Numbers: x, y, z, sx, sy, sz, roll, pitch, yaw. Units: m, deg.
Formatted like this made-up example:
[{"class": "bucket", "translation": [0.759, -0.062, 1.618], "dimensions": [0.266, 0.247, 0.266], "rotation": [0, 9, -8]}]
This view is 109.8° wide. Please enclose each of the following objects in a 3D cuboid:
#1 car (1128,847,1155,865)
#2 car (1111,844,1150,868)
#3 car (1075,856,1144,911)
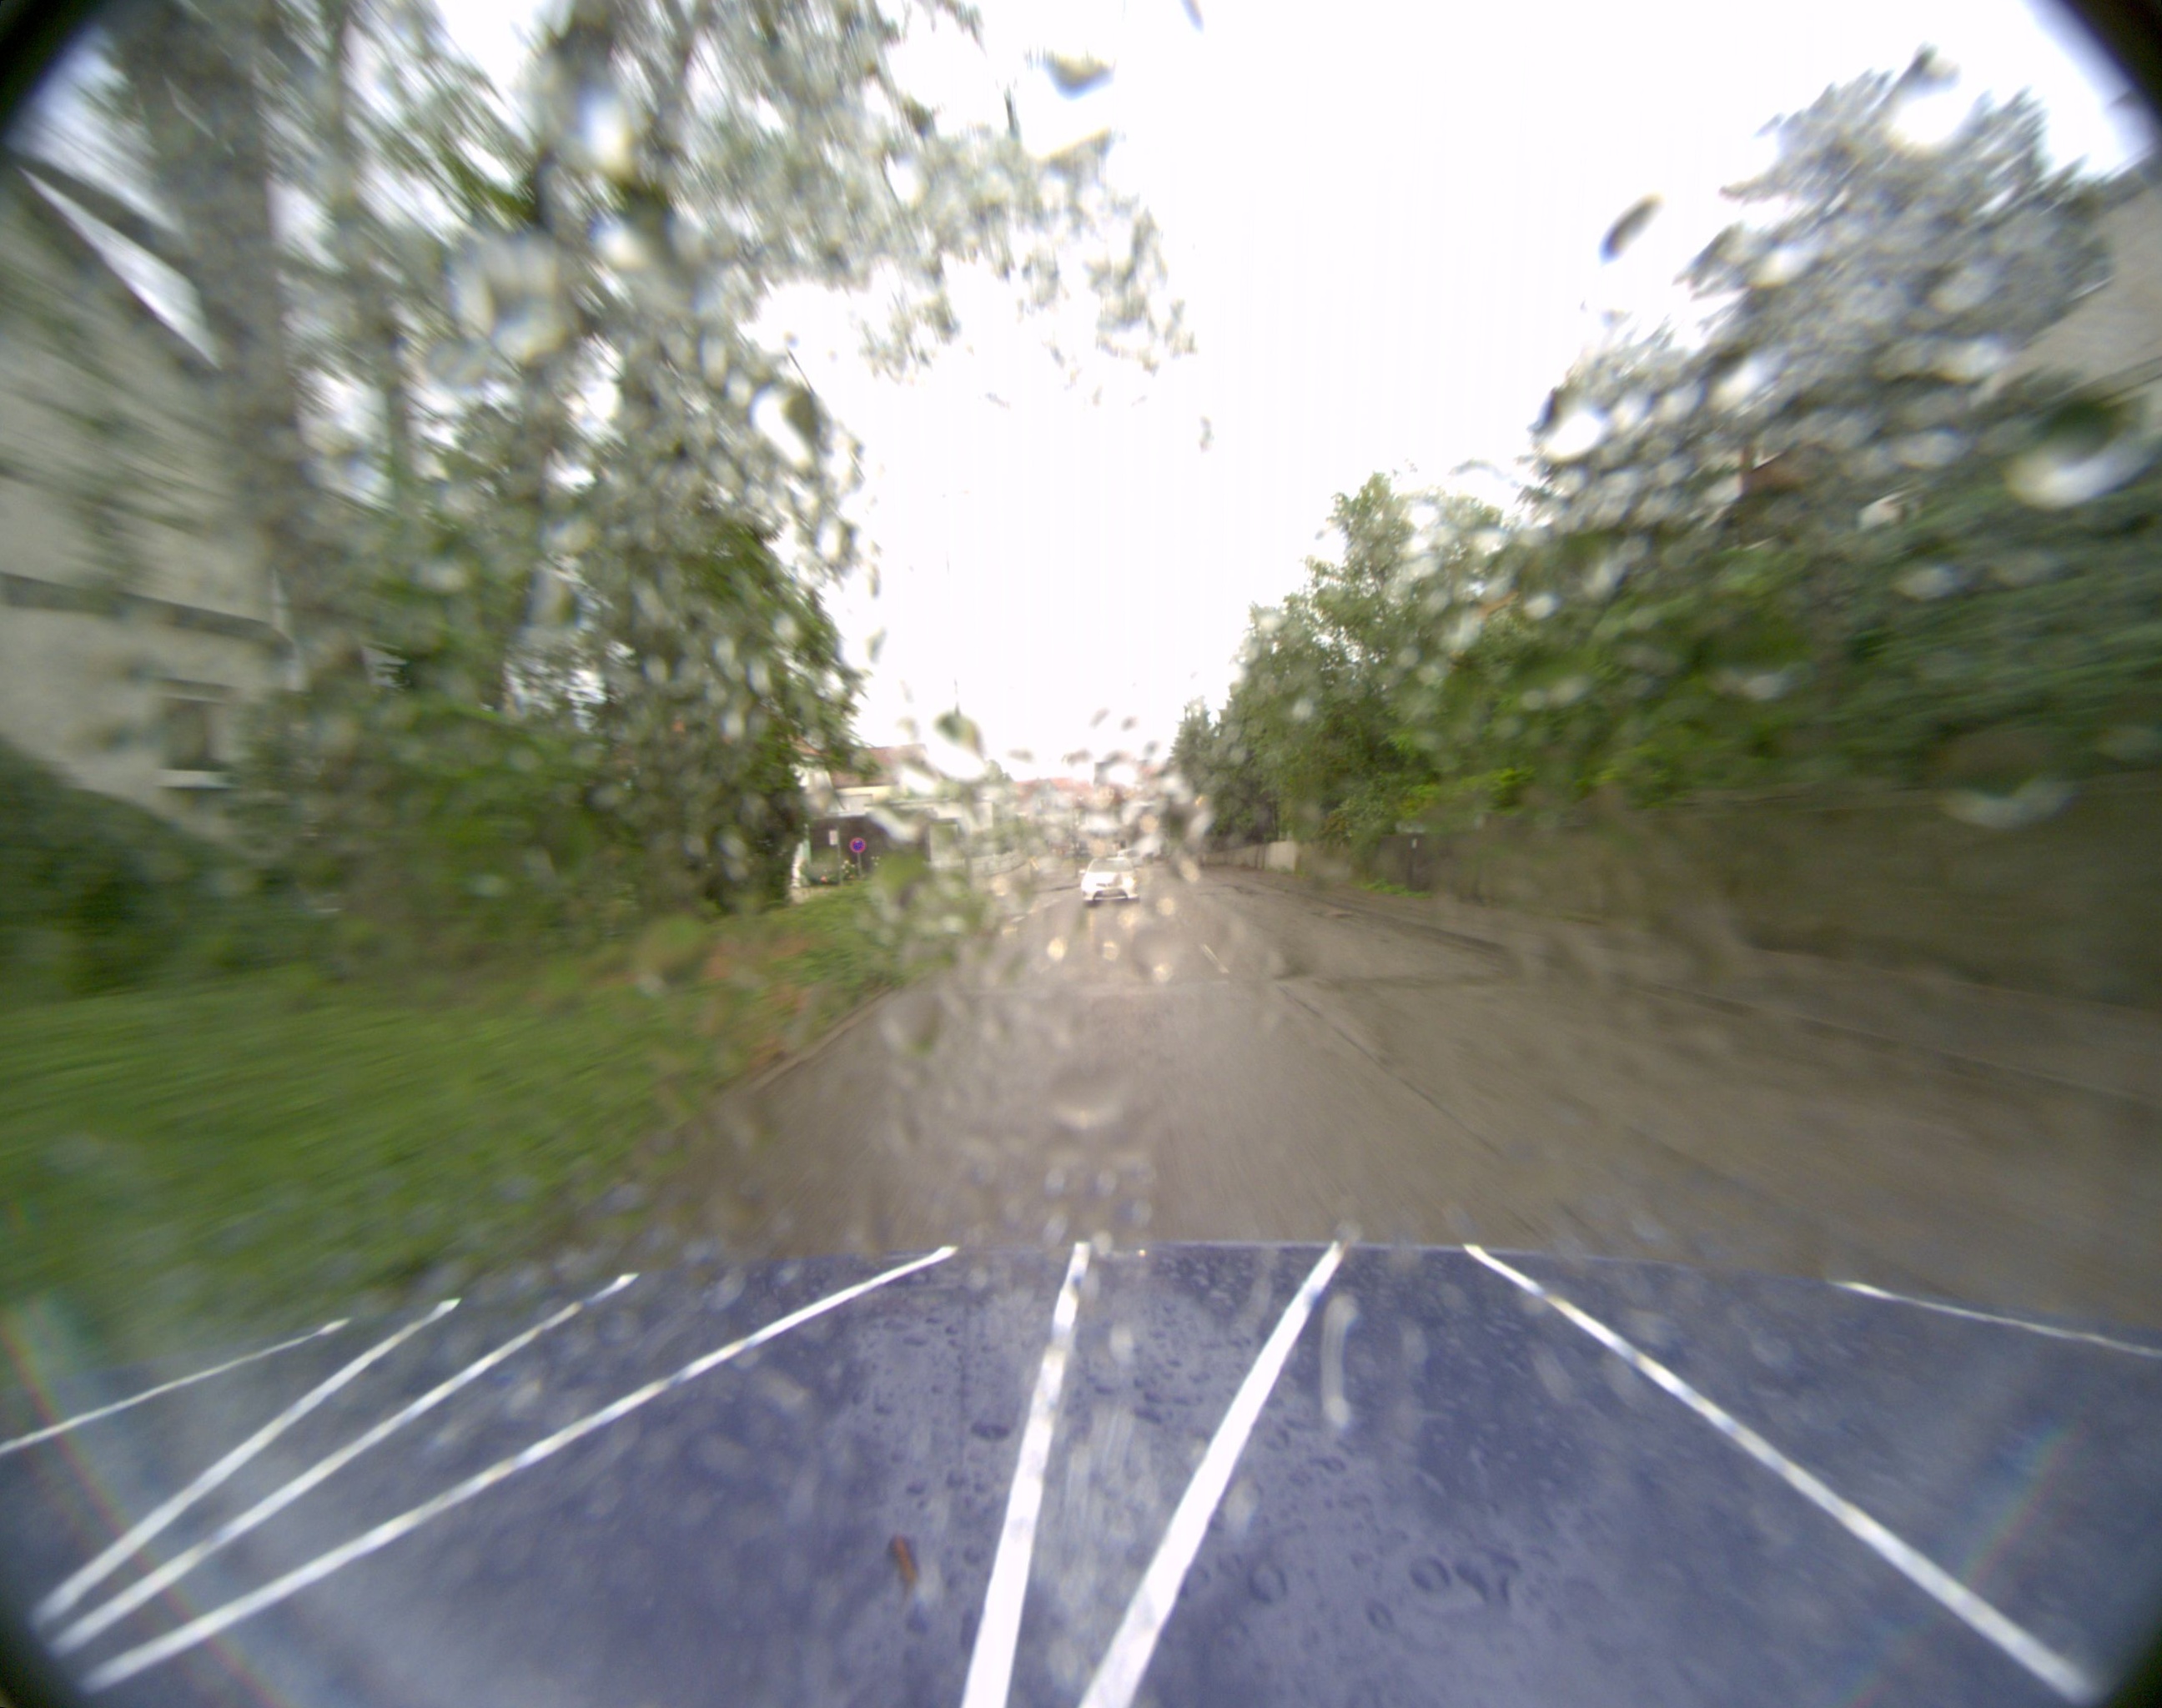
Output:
[{"class": "car", "translation": [5.627, 0.198, 71.134], "dimensions": [1.760, 1.491, 3.991], "rotation": [-4, 1, -5]}, {"class": "car", "translation": [4.157, 0.174, 64.226], "dimensions": [2.115, 1.863, 4.176], "rotation": [-4, 1, -12]}, {"class": "car", "translation": [0.965, 0.850, 23.580], "dimensions": [1.862, 1.370, 4.182], "rotation": [-4, 1, 5]}]
